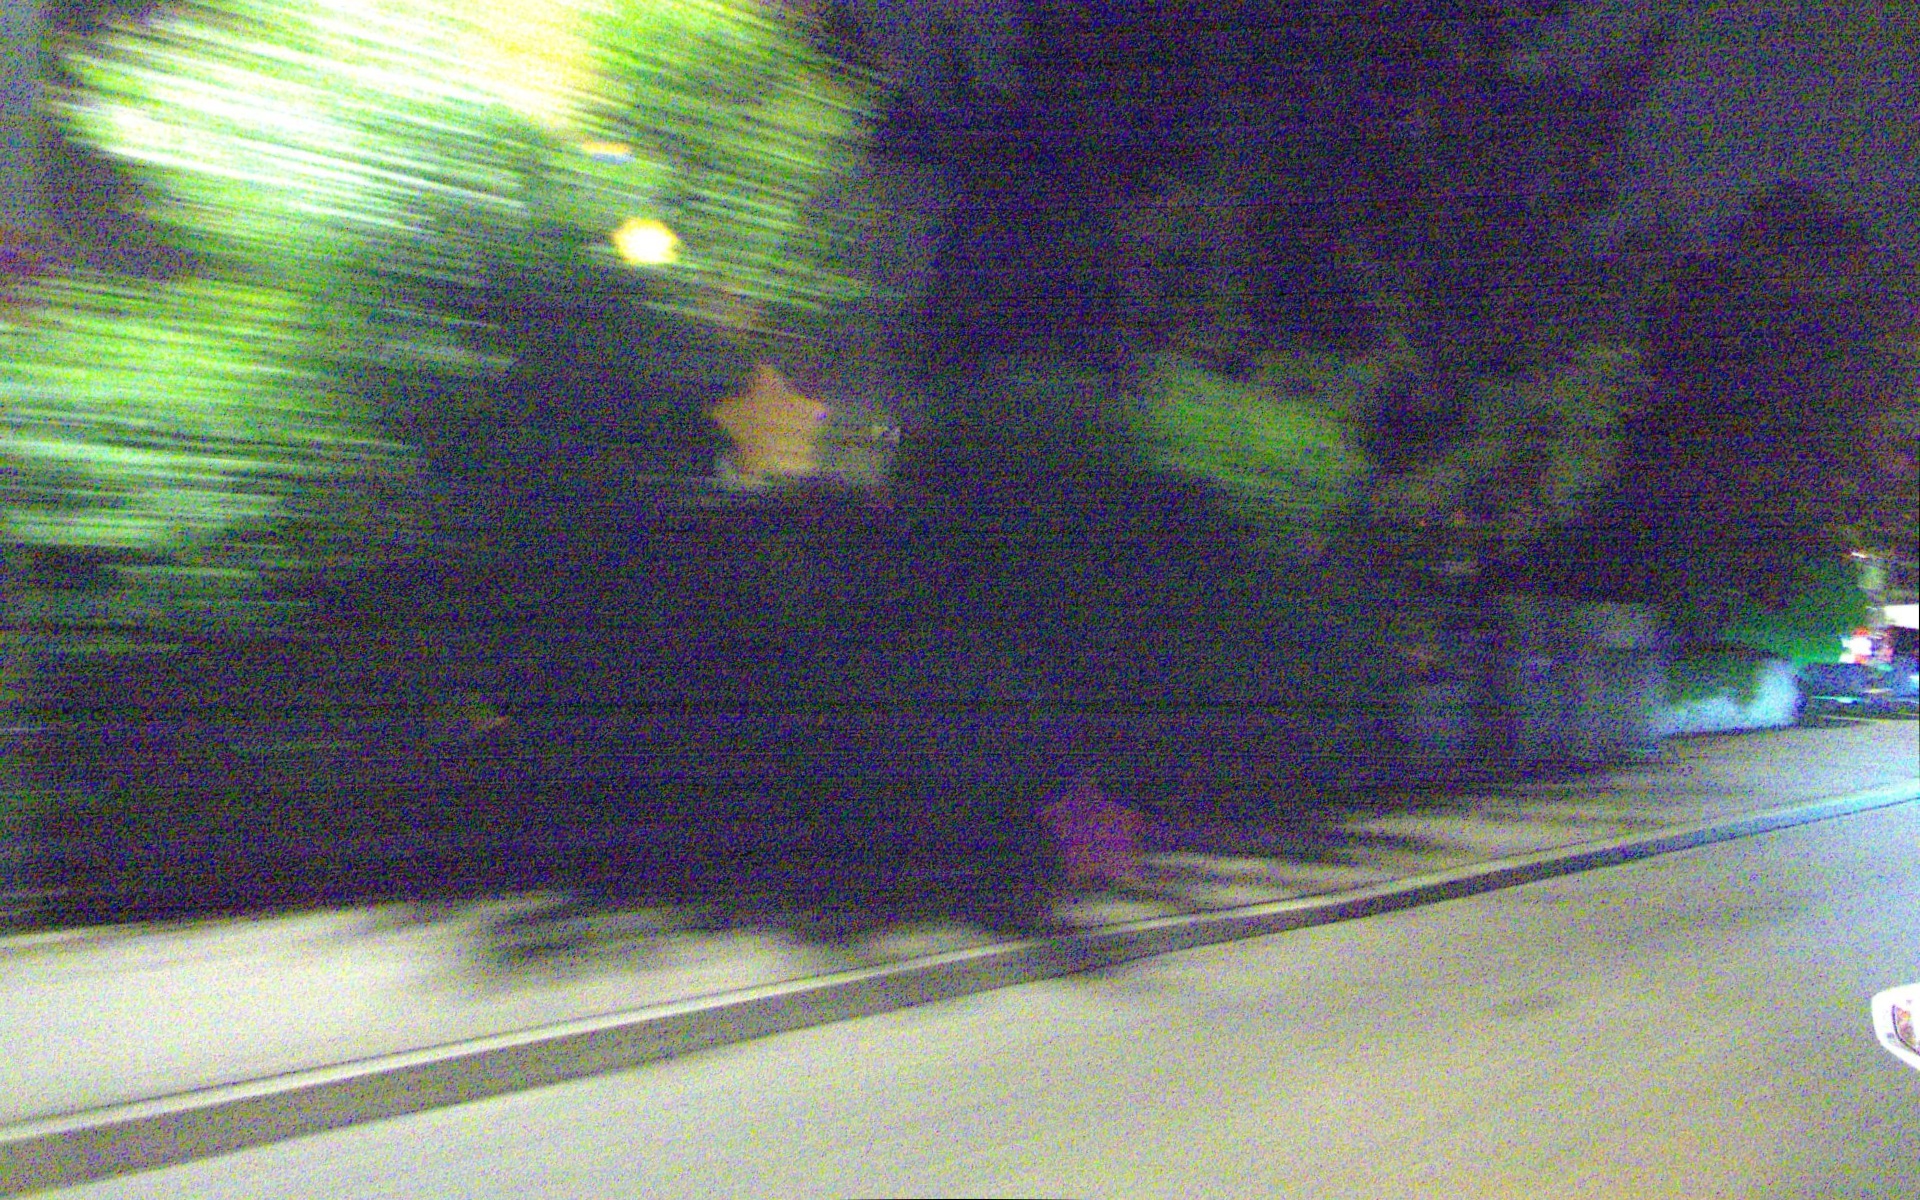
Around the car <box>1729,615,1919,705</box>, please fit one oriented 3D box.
[{"bbox_3d":[18.218,1.167,20.313,1.905,1.576,3.792,1,1,-30],"label":"car"}]

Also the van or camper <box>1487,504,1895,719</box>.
[{"bbox_3d":[12.416,0.157,17.446,2.115,3.152,5.354,1,0,-39],"label":"van or camper"}]

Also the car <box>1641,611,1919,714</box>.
[{"bbox_3d":[15.784,1.102,18.943,2.040,1.634,4.397,3,-1,-29],"label":"car"}]
